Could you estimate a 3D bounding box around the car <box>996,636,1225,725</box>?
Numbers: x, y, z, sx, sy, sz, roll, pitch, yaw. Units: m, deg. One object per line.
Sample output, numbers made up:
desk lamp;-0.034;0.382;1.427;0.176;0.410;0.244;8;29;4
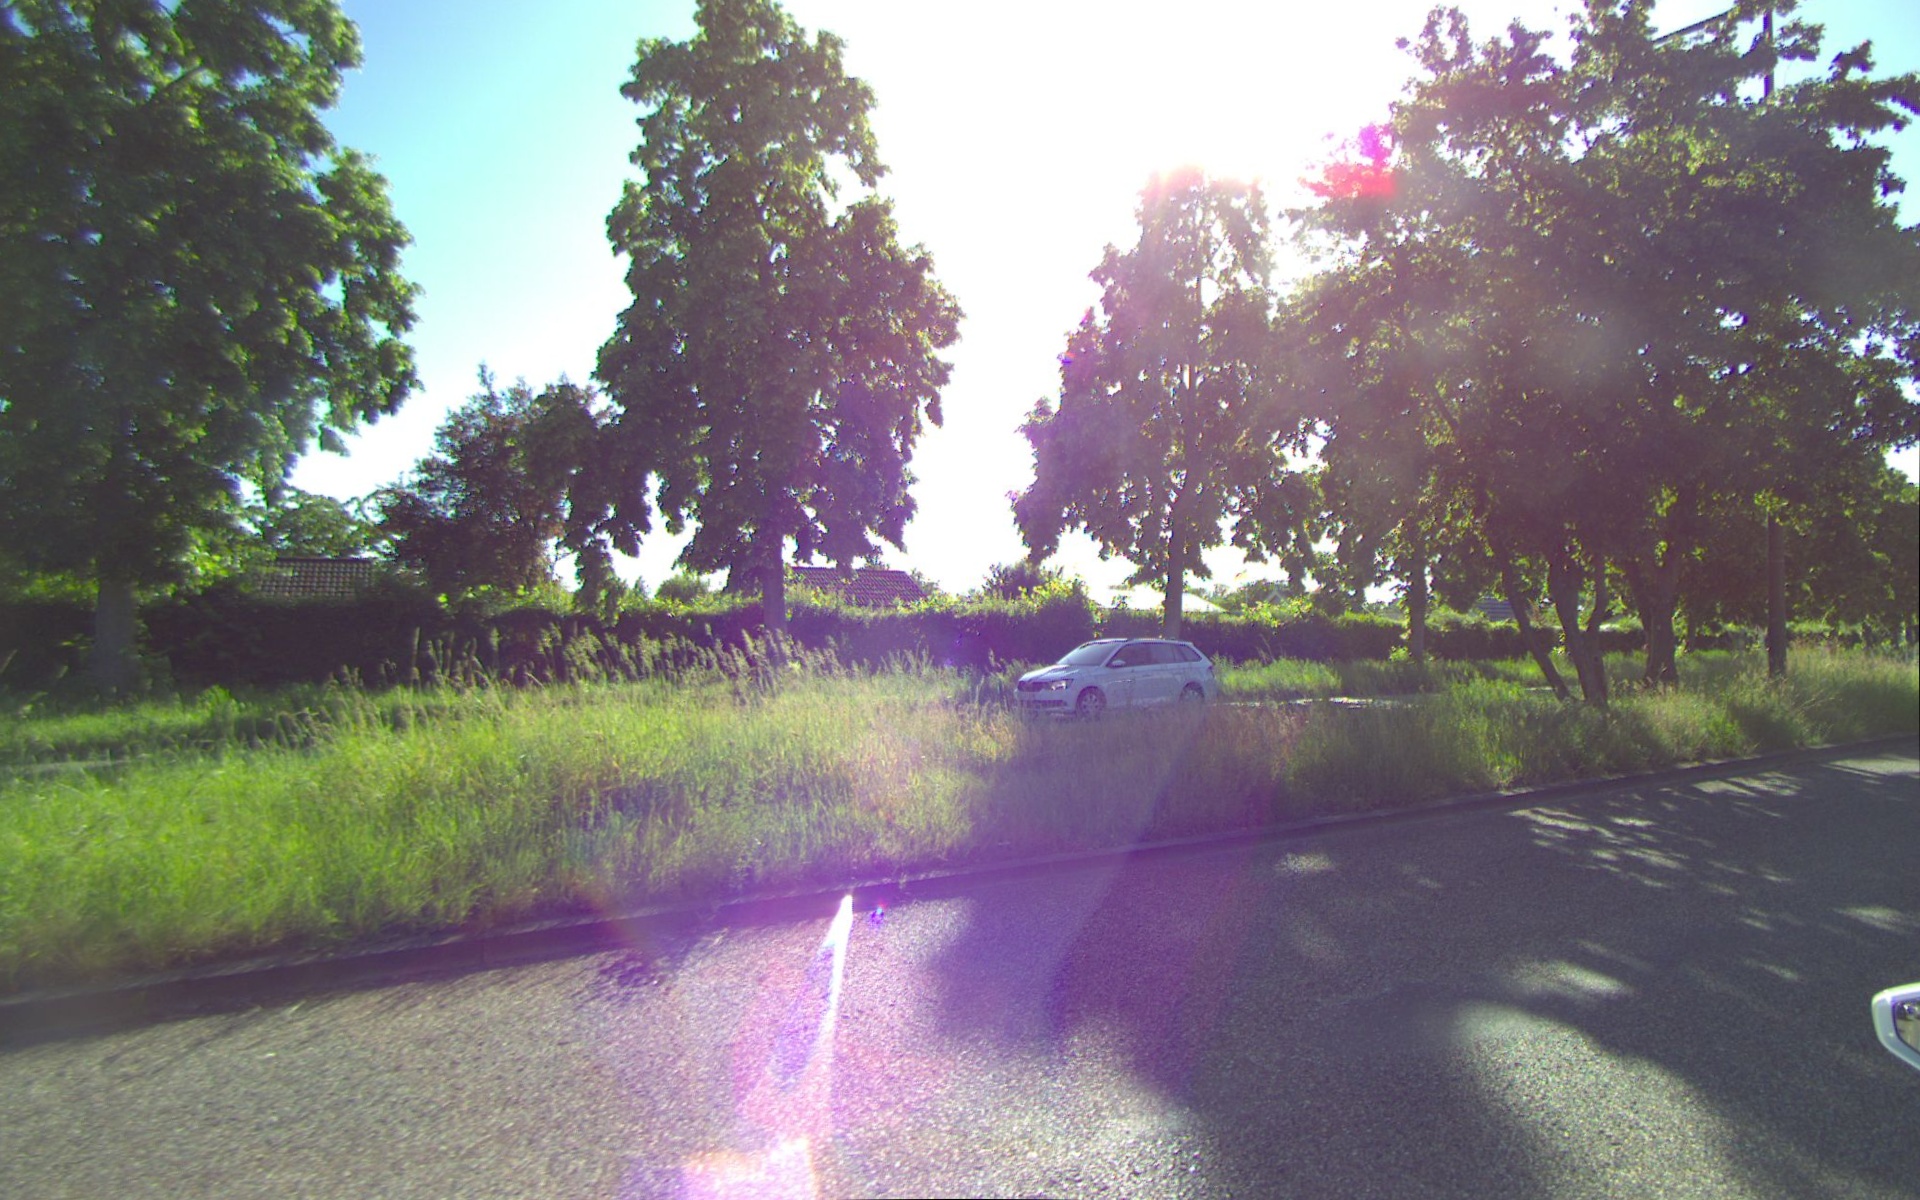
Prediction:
car;2.855;1.458;18.805;4.131;1.486;1.662;1;-4;-31
